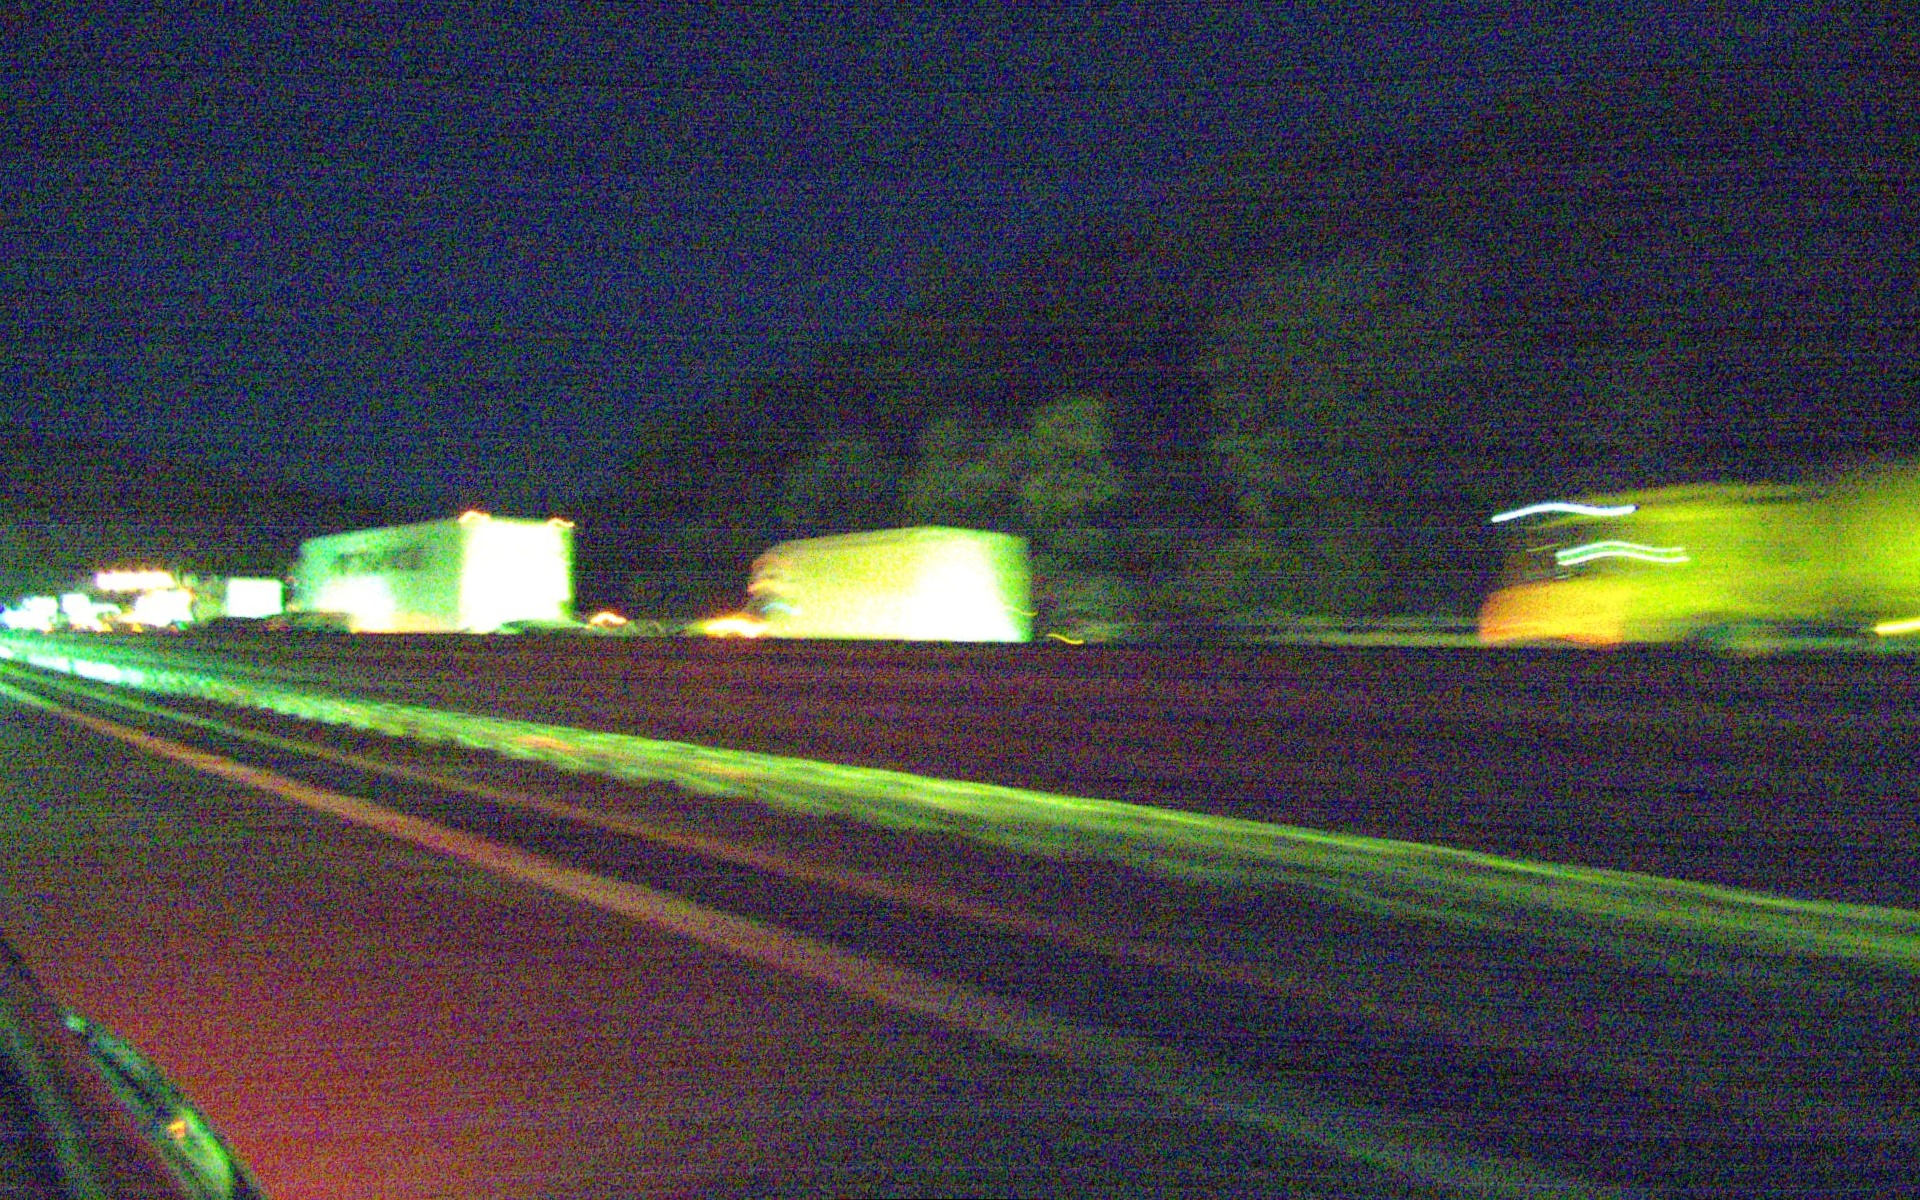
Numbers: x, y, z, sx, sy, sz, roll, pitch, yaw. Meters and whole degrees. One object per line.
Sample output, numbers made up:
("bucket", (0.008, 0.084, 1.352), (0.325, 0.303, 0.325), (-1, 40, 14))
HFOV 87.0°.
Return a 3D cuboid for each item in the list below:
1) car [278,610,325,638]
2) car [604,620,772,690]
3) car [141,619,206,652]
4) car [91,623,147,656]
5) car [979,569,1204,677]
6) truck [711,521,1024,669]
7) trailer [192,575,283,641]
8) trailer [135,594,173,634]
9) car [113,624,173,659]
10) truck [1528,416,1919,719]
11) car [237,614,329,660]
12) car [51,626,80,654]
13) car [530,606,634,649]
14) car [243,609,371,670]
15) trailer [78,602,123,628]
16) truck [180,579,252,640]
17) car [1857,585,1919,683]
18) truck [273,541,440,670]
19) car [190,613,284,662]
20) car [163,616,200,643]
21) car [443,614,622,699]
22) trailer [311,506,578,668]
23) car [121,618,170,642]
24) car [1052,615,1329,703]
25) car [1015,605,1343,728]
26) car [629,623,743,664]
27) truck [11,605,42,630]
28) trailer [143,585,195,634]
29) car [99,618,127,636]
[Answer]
("car", (-45.034, 1.607, 69.210), (3.837, 1.732, 1.702), (0, 3, 42))
("car", (-5.932, 1.114, 21.836), (4.161, 1.325, 1.553), (-1, 0, 43))
("car", (-45.255, 2.011, 58.207), (4.744, 1.824, 1.973), (-1, -2, 40))
("car", (-42.255, 1.969, 50.831), (1.812, 1.565, 4.516), (1, -2, -44))
("car", (3.087, 0.531, 24.232), (4.785, 2.312, 2.434), (-1, -1, 40))
("truck", (-2.468, -0.049, 24.057), (8.170, 2.981, 2.530), (-1, 0, 42))
("trailer", (-46.182, 0.604, 64.568), (8.735, 3.947, 2.790), (-2, -3, 41))
("trailer", (-90.331, 1.619, 113.311), (2.840, 4.216, 14.545), (1, -2, -40))
("car", (-35.812, 1.786, 44.304), (1.682, 1.437, 4.516), (1, -1, -44))
("truck", (10.507, -0.414, 12.379), (5.794, 3.243, 2.616), (0, 3, 42))
("car", (-28.731, 1.534, 42.893), (5.485, 1.824, 1.972), (-1, -2, 42))
("car", (-52.873, 2.325, 59.825), (1.201, 1.608, 4.518), (2, -2, -42))
("car", (-12.494, 0.882, 33.319), (4.161, 1.325, 1.553), (-1, 0, 43))
("car", (-17.235, 0.997, 26.618), (4.514, 1.437, 1.853), (-1, 0, 44))
("trailer", (-152.711, 2.610, 180.104), (2.793, 4.004, 15.815), (-1, 1, -28))
("truck", (-49.866, 0.703, 67.807), (4.932, 3.946, 2.798), (-2, -3, 41))
("car", (15.026, 0.453, 13.912), (3.999, 1.364, 1.554), (-1, 0, 42))
("truck", (-21.576, 0.087, 36.031), (7.076, 4.127, 3.075), (0, 3, 43))
("car", (-24.461, 1.228, 34.189), (4.515, 1.437, 1.822), (-1, 1, 45))
("car", (-63.656, 2.376, 82.706), (1.881, 1.900, 5.025), (-2, 2, -44))
("car", (-7.935, 0.966, 18.599), (4.000, 1.364, 1.553), (-1, 0, 43))
("trailer", (-16.230, -0.440, 31.082), (12.449, 4.118, 3.057), (0, 3, 43))
("car", (-53.002, 1.928, 65.827), (4.651, 1.454, 1.925), (-1, -2, 44))
("car", (3.946, 0.962, 17.840), (4.572, 1.364, 1.554), (-1, -1, 40))
("car", (2.766, 0.779, 13.365), (4.000, 1.364, 1.553), (-1, 0, 43))
("car", (-9.733, 1.486, 35.816), (4.572, 1.364, 1.554), (-1, -1, 40))
("truck", (-155.813, 2.835, 168.927), (2.852, 4.002, 4.013), (-1, 1, -28))
("trailer", (-77.910, 1.018, 99.517), (2.805, 4.498, 14.539), (2, -2, -42))
("car", (-74.868, 2.394, 89.467), (1.880, 1.503, 4.875), (1, -2, -40))
